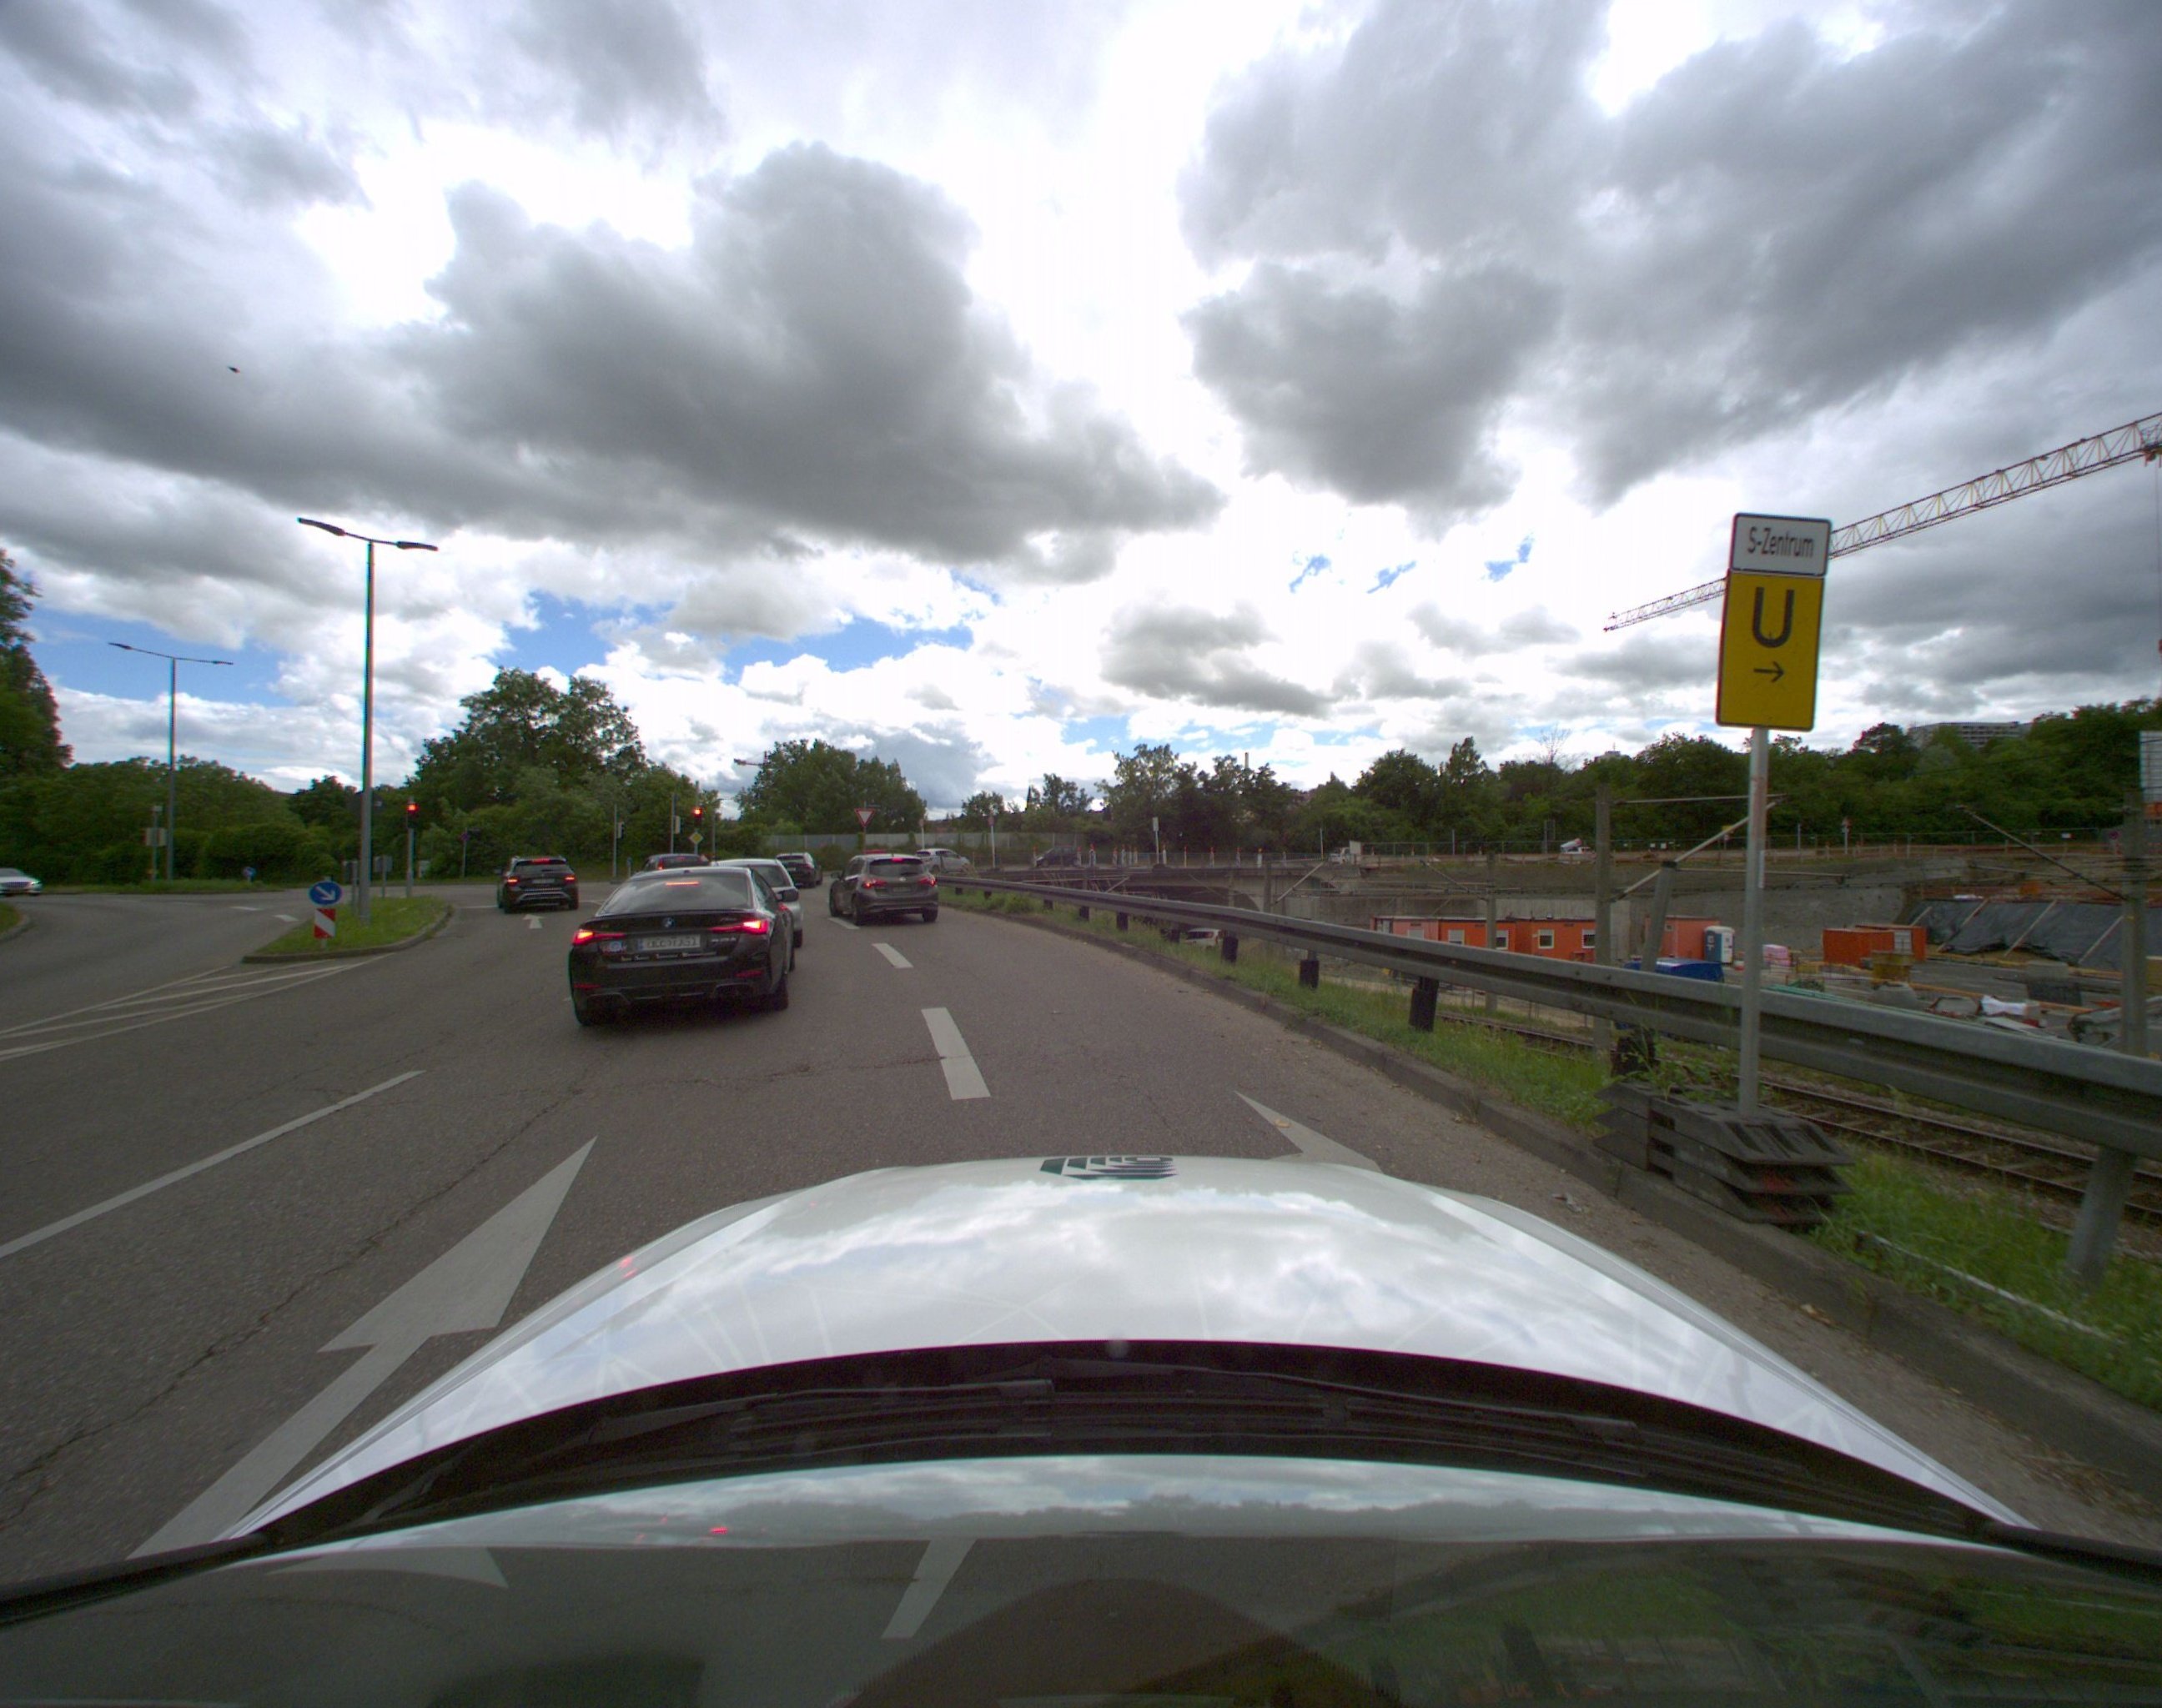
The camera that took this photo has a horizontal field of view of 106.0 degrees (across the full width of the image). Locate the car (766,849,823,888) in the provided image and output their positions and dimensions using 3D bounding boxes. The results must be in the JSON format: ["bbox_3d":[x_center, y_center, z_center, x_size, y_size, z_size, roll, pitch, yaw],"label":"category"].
[{"bbox_3d":[-11.895,0.560,34.003,1.822,1.552,3.771,0,0,-13],"label":"car"}]

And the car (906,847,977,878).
[{"bbox_3d":[-7.898,0.511,46.392,1.695,1.675,4.025,-1,-2,32],"label":"car"}]

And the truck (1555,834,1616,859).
[{"bbox_3d":[43.244,-0.630,69.809,3.973,2.014,2.000,2,-1,0],"label":"truck"}]

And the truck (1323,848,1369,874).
[{"bbox_3d":[21.885,0.596,67.217,3.230,2.014,1.727,3,-1,-23],"label":"truck"}]

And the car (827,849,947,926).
[{"bbox_3d":[-4.602,0.690,18.868,1.808,1.552,3.965,-1,0,-27],"label":"car"}]

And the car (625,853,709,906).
[{"bbox_3d":[-13.043,0.747,25.594,1.556,1.507,3.340,-2,1,-41],"label":"car"}]

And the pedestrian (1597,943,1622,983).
[{"bbox_3d":[27.949,5.751,43.052,0.801,2.014,0.701,4,-2,-13],"label":"pedestrian"}]

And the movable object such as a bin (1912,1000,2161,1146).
[{"bbox_3d":[26.773,5.895,22.630,3.024,2.749,4.292,0,2,3],"label":"movable object such as a bin"}]

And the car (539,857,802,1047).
[{"bbox_3d":[-4.306,0.821,9.391,1.878,1.476,4.934,-2,1,-18],"label":"car"}]

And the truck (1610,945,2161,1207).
[{"bbox_3d":[21.164,5.332,23.056,2.841,3.893,11.567,0,1,-14],"label":"truck"}]

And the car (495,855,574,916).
[{"bbox_3d":[-15.799,0.847,23.685,1.667,1.507,3.732,-3,2,-31],"label":"car"}]

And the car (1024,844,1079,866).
[{"bbox_3d":[-2.230,0.074,62.013,3.795,1.552,1.629,-1,-2,-25],"label":"car"}]

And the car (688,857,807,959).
[{"bbox_3d":[-5.992,0.832,14.437,1.677,1.469,3.598,-3,1,-26],"label":"car"}]

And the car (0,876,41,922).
[{"bbox_3d":[-53.227,2.181,39.672,4.271,1.994,1.945,2,-1,21],"label":"car"}]

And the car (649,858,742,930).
[{"bbox_3d":[-9.234,0.849,19.359,1.574,1.368,4.044,-3,3,-30],"label":"car"}]
